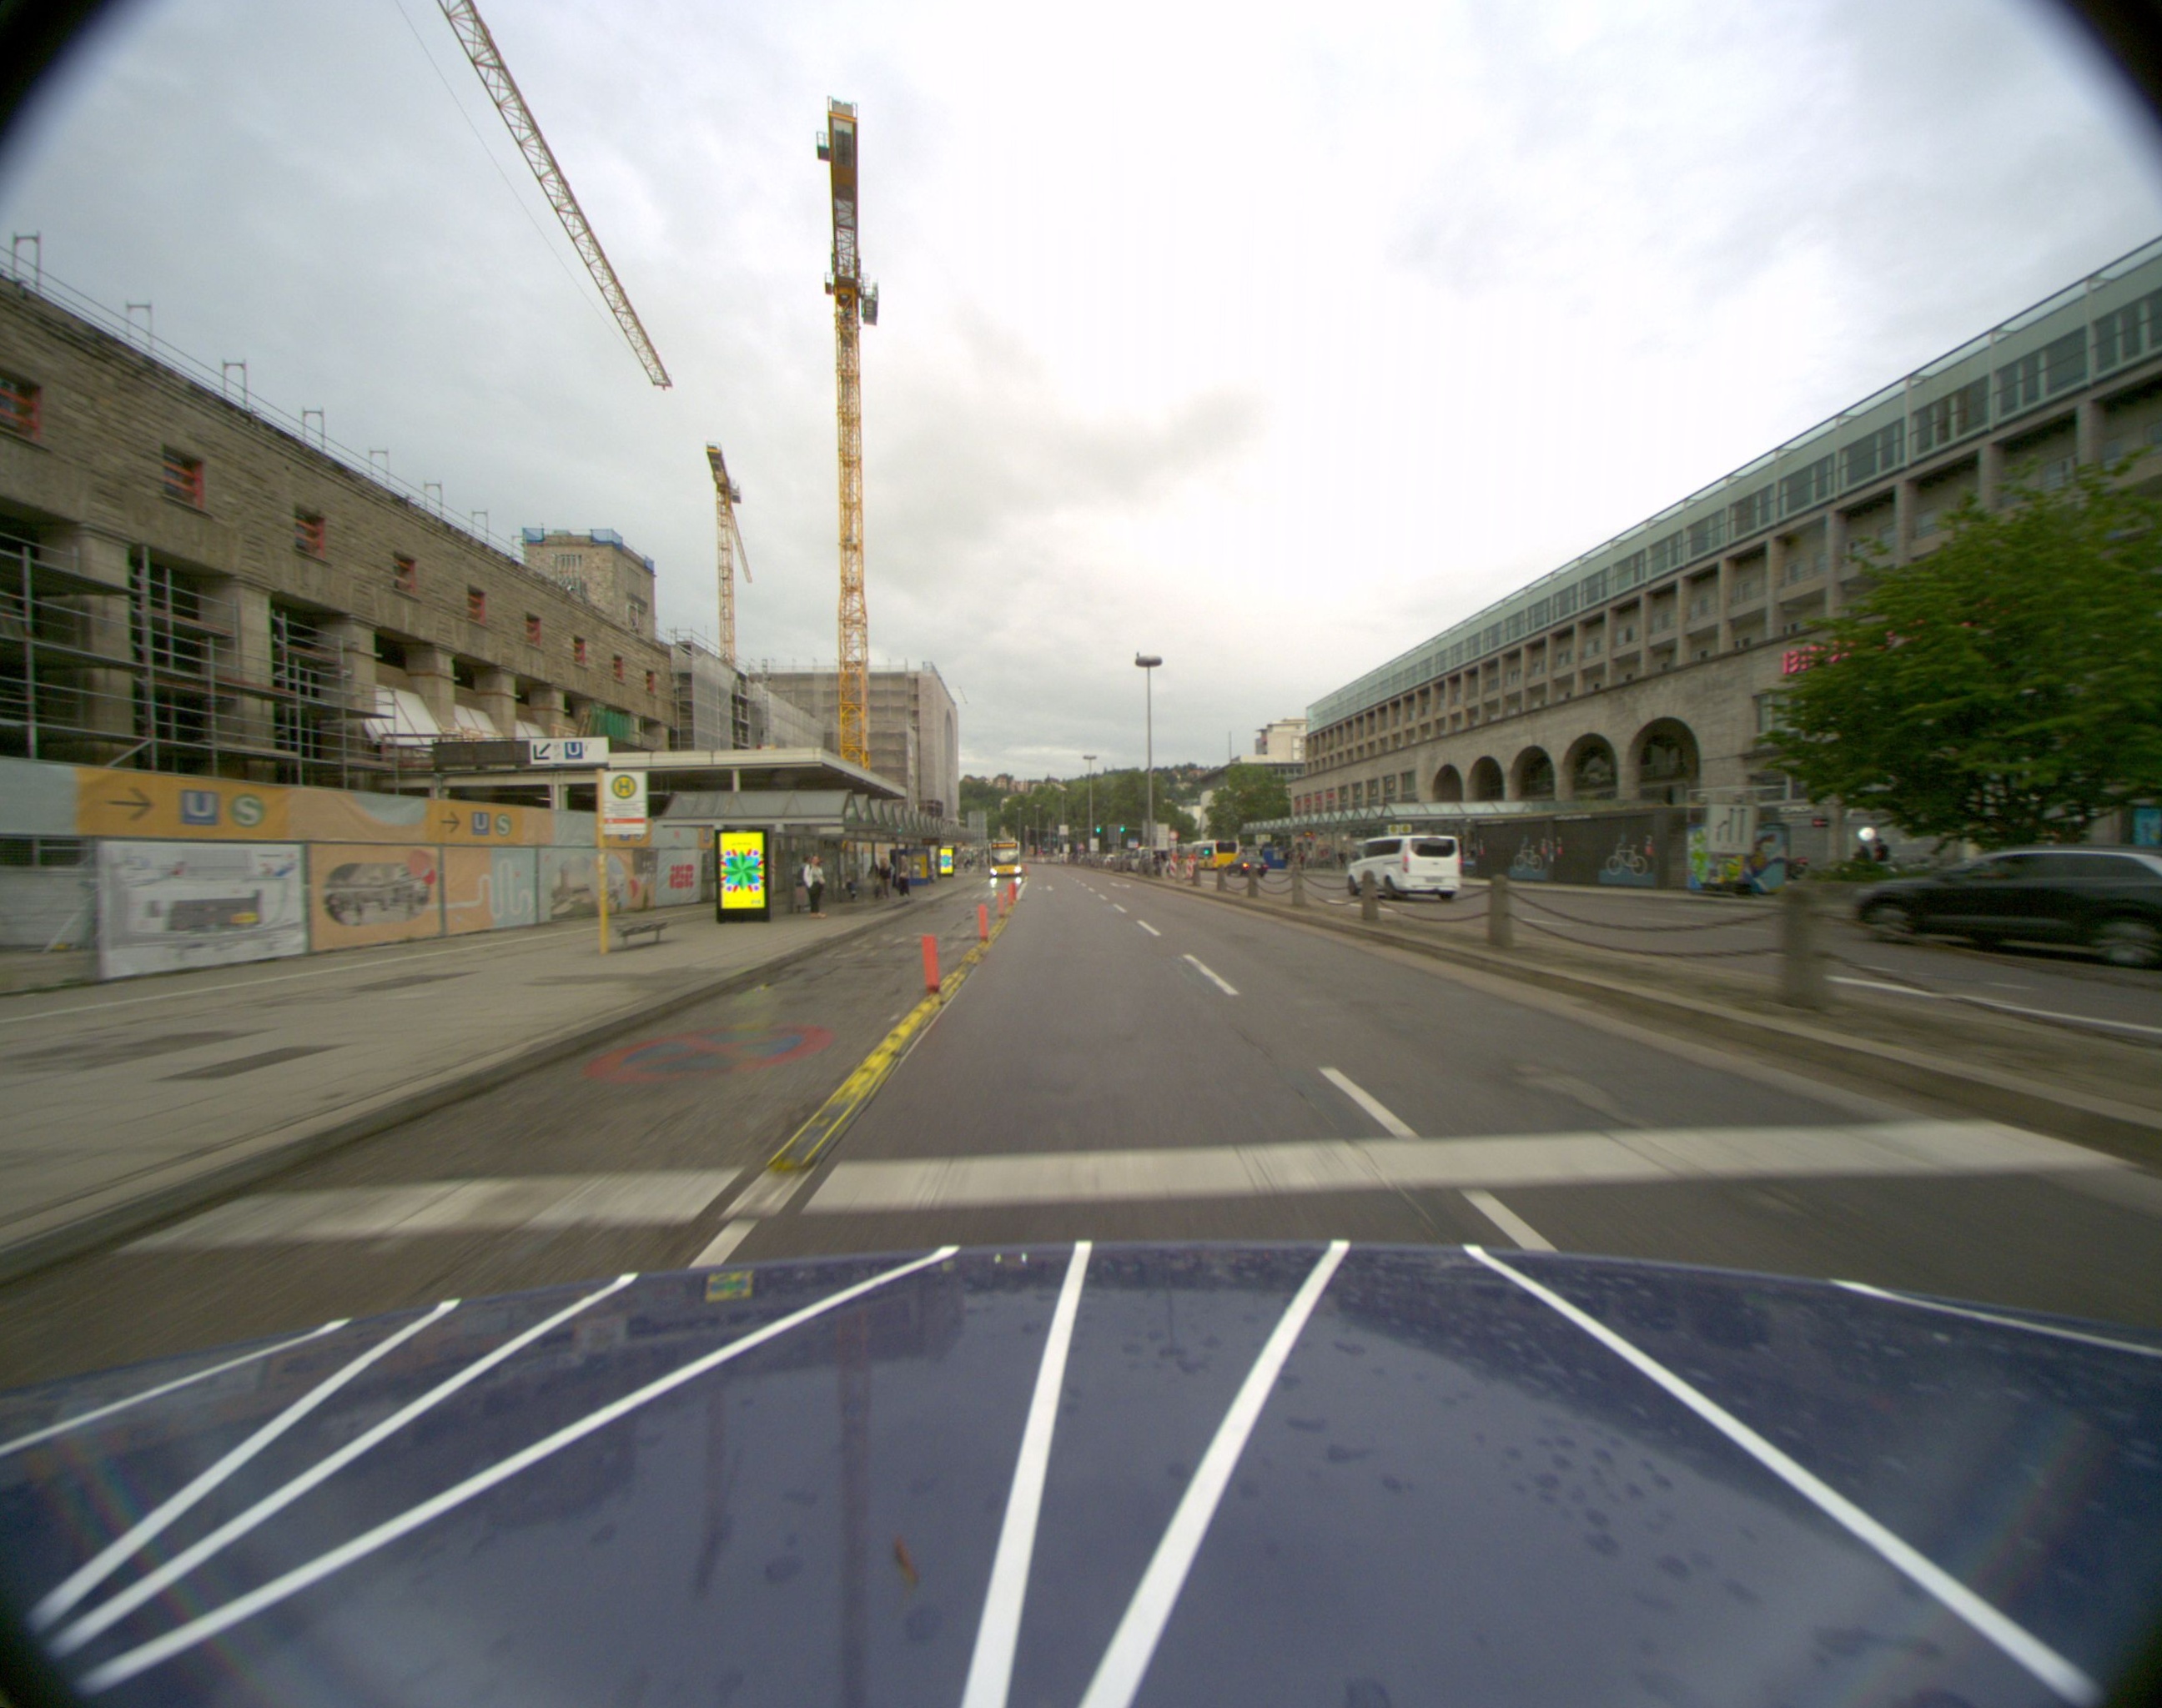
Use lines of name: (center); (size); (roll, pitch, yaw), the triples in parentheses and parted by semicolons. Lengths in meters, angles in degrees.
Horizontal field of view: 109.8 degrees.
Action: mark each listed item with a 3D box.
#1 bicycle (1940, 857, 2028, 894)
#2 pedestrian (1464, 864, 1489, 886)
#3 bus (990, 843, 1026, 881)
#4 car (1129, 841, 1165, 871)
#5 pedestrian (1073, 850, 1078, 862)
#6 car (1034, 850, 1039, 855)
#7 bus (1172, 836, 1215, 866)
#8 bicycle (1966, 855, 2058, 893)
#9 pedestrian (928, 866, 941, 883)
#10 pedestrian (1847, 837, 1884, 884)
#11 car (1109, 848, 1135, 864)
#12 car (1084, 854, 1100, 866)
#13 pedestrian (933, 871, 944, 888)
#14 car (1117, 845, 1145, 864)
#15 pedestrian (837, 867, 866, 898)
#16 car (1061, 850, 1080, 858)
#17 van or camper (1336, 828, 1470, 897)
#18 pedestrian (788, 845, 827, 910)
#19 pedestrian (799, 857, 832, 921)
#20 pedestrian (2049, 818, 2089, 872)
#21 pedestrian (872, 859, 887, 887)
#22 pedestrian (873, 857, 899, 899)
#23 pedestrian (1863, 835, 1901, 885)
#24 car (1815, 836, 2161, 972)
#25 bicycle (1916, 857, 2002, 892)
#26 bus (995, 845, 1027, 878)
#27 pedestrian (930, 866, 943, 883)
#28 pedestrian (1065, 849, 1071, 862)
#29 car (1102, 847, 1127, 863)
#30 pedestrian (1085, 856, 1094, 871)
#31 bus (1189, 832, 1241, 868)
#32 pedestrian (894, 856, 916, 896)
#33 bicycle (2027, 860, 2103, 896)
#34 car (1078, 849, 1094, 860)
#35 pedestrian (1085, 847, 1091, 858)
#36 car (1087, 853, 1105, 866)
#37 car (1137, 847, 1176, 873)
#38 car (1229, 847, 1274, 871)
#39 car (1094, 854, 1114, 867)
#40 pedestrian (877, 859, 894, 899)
bicycle: (32.841, 0.769, 27.652); (2.372, 1.285, 0.663); (-1, 0, 2)
pedestrian: (21.317, 1.121, 40.974); (0.581, 1.175, 1.260); (-3, 0, -3)
bus: (-6.320, 0.668, 66.866); (2.763, 3.048, 8.989); (-2, 0, -4)
car: (5.084, 0.168, 59.225); (1.999, 2.166, 5.543); (-1, 0, -3)
pedestrian: (-0.827, 0.261, 112.825); (0.700, 1.744, 0.711); (-1, 0, -4)
car: (-13.610, -0.410, 231.837); (1.683, 1.533, 3.173); (0, -1, -4)
bus: (13.302, -0.314, 90.526); (2.885, 3.356, 10.571); (-1, 0, -4)
bicycle: (32.777, 0.707, 26.771); (2.372, 1.285, 0.663); (-1, 0, 2)
pedestrian: (-9.301, 1.285, 48.259); (0.729, 1.059, 0.709); (-1, 0, -3)
pedestrian: (29.736, 0.241, 28.798); (0.667, 1.742, 0.728); (-1, 0, -4)
car: (4.060, 0.177, 75.850); (1.935, 1.567, 5.050); (0, 0, -5)
car: (1.538, 0.821, 108.501); (1.935, 1.680, 4.680); (0, 0, -5)
pedestrian: (-10.291, 1.837, 54.910); (0.666, 1.179, 0.666); (-1, 0, -3)
car: (4.552, 0.082, 69.818); (1.935, 1.689, 4.883); (0, 0, -4)
pedestrian: (-9.274, 1.147, 30.722); (0.915, 1.223, 0.840); (-3, 0, -3)
car: (-2.865, -0.045, 205.908); (4.832, 2.001, 2.035); (-2, -1, -2)
van or camper: (10.383, 0.254, 25.028); (1.999, 2.002, 5.187); (-1, 0, -3)
pedestrian: (-8.835, 0.755, 24.551); (0.806, 2.038, 0.924); (-2, 0, -43)
pedestrian: (-7.170, 0.927, 20.516); (0.705, 1.669, 0.721); (-1, 0, -30)
pedestrian: (34.067, -0.302, 26.201); (0.681, 1.844, 0.605); (-1, 0, -10)
pedestrian: (-11.936, 1.092, 44.936); (0.709, 1.598, 0.729); (-4, 1, -16)
pedestrian: (-7.974, 0.962, 31.098); (0.810, 1.650, 0.804); (-2, 0, -3)
pedestrian: (30.419, 0.229, 28.850); (0.667, 1.842, 0.728); (-1, 0, -4)
car: (13.658, 0.579, 10.753); (1.999, 1.607, 4.574); (-1, 0, -3)
bicycle: (32.942, 0.771, 28.527); (2.372, 1.285, 0.663); (-1, 0, 2)
bus: (-6.893, 0.692, 75.894); (2.763, 3.051, 9.076); (-2, 0, -4)
pedestrian: (-9.329, 1.311, 49.060); (0.729, 1.059, 0.808); (-1, 0, -3)
pedestrian: (-1.897, 0.227, 113.294); (0.725, 1.996, 0.772); (-2, 0, -4)
car: (3.549, 0.130, 81.350); (1.982, 1.649, 5.190); (0, 0, -5)
pedestrian: (1.039, 1.147, 93.608); (1.053, 1.758, 0.616); (-1, 1, -5)
bus: (13.888, -0.362, 79.883); (2.885, 3.439, 10.571); (-1, 0, -4)
pedestrian: (-7.413, 0.924, 32.047); (0.764, 1.683, 0.822); (-1, 0, -4)
bicycle: (32.788, 0.793, 25.328); (1.910, 1.154, 0.503); (-1, 0, -1)
car: (0.808, 0.044, 117.182); (2.021, 1.611, 4.840); (-1, -1, -4)
pedestrian: (1.106, -0.244, 119.309); (0.785, 1.765, 0.605); (2, 0, -16)
car: (2.028, 0.769, 103.138); (1.935, 1.680, 4.680); (0, 0, -5)
car: (5.237, 0.431, 53.136); (1.999, 1.712, 4.781); (-1, 0, -3)
car: (11.762, 0.327, 52.800); (1.999, 1.607, 4.977); (-1, 0, 0)
car: (2.789, 0.794, 93.963); (1.935, 1.567, 5.258); (0, 0, -5)
pedestrian: (-7.711, 0.964, 29.998); (0.522, 1.556, 0.728); (-1, 0, -4)
